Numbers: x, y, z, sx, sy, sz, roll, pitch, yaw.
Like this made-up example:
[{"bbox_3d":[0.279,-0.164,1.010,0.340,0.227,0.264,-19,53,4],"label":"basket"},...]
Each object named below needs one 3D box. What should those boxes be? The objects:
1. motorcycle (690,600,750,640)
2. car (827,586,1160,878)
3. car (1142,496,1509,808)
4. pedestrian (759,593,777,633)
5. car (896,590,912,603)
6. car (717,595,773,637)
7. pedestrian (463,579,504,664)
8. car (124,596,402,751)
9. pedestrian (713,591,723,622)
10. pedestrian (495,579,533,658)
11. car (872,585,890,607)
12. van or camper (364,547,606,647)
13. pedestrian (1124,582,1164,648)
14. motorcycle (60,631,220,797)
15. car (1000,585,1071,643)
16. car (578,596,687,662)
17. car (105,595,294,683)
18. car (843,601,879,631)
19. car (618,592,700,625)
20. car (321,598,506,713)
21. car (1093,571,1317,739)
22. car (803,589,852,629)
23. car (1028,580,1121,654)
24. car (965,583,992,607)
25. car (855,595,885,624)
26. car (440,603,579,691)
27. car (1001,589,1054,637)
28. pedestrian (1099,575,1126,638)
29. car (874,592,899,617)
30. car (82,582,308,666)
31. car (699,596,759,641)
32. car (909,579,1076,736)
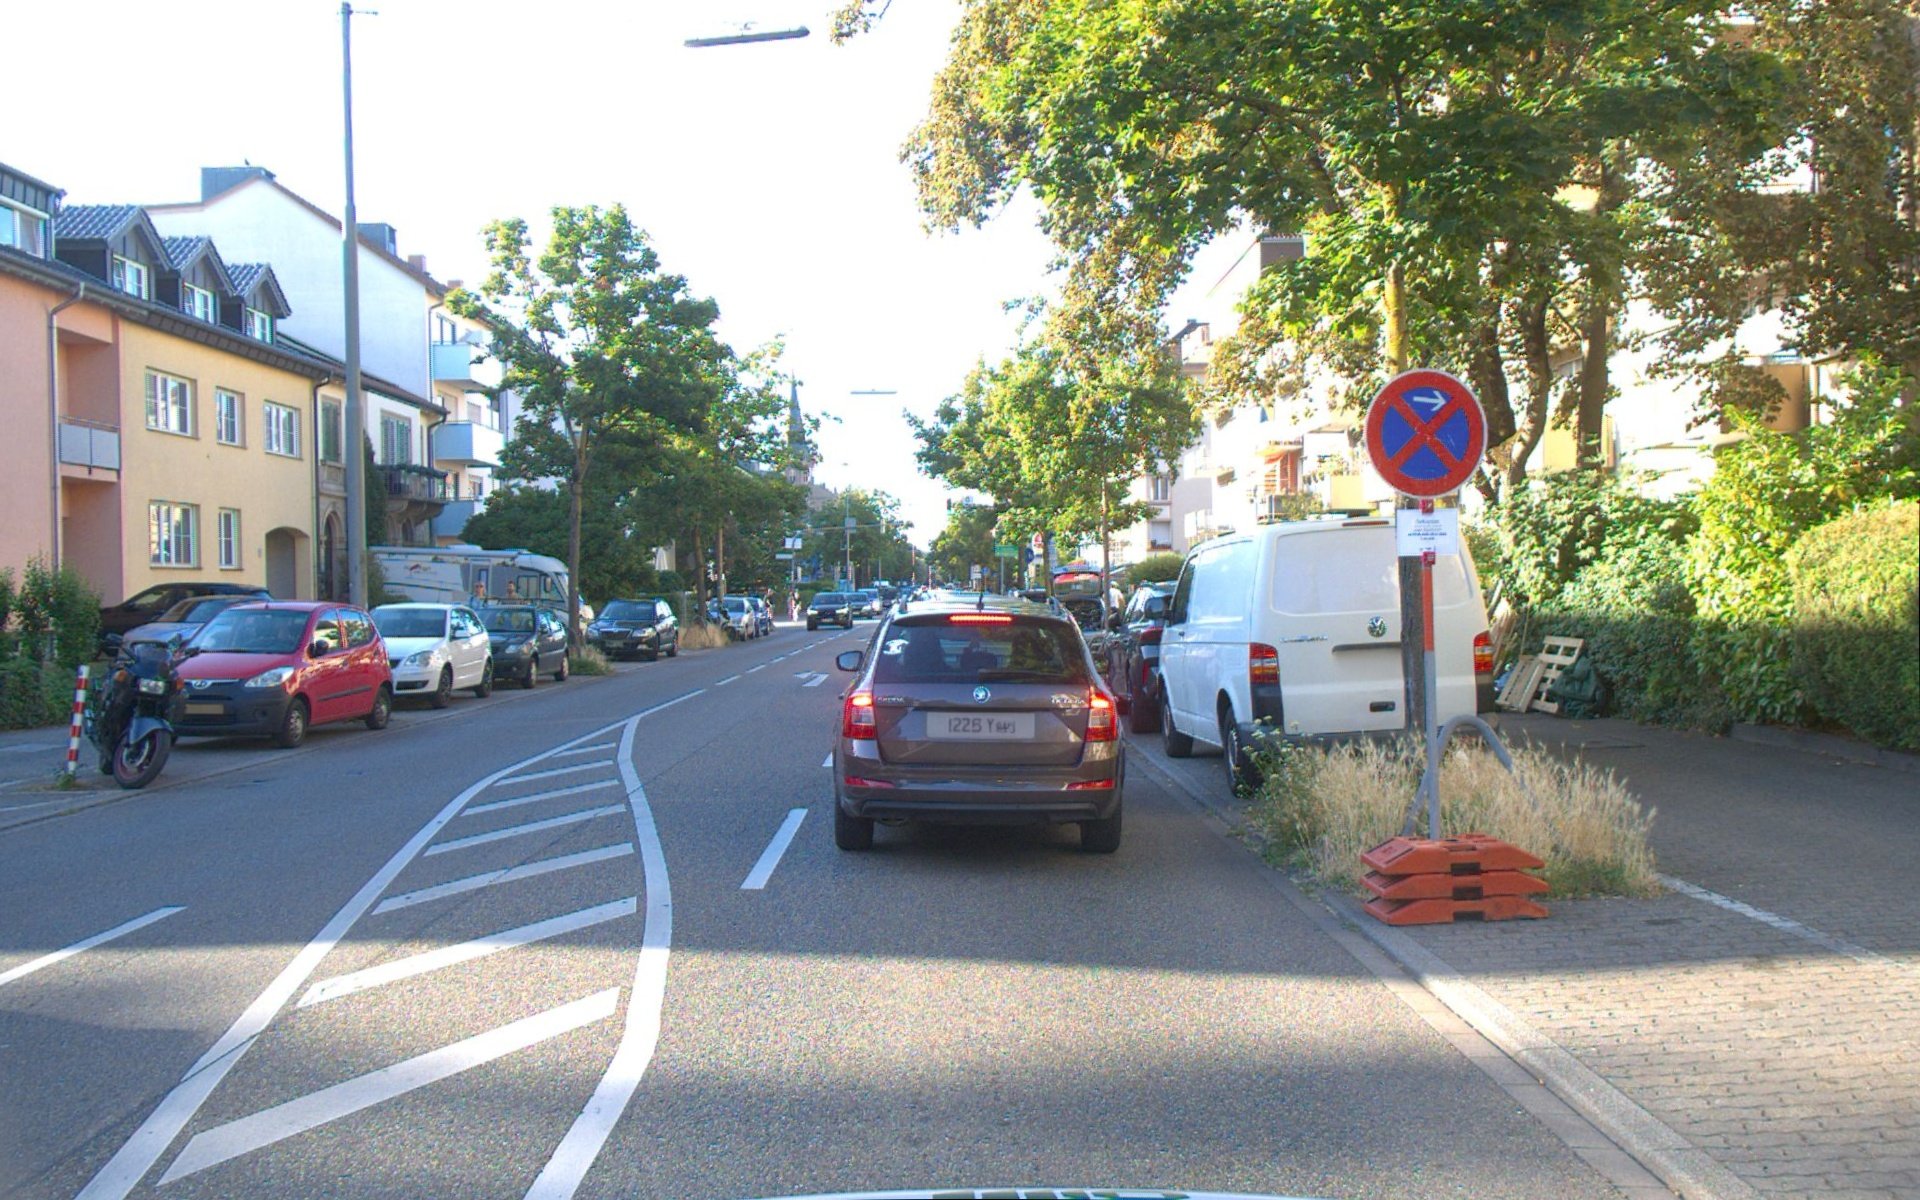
[{"bbox_3d":[-7.932,0.666,54.556,2.014,1.287,0.764,-1,0,38],"label":"motorcycle"},{"bbox_3d":[0.135,0.676,10.785,1.737,1.515,4.310,0,0,-1],"label":"car"},{"bbox_3d":[2.810,0.347,13.857,1.865,2.140,4.639,-1,0,-2],"label":"car"},{"bbox_3d":[-9.744,0.665,83.828,0.764,2.022,0.821,-1,0,0],"label":"pedestrian"},{"bbox_3d":[-6.812,-0.426,202.190,1.793,1.607,4.000,-1,0,-1],"label":"car"},{"bbox_3d":[-8.147,0.584,62.891,1.615,1.544,4.073,0,0,-1],"label":"car"},{"bbox_3d":[-10.271,0.459,35.667,0.699,1.824,0.506,-1,0,2],"label":"pedestrian"},{"bbox_3d":[-7.702,0.747,18.614,1.560,1.550,3.437,-1,0,2],"label":"car"},{"bbox_3d":[-14.538,0.408,99.396,0.440,1.828,0.504,-1,0,0],"label":"pedestrian"},{"bbox_3d":[-10.493,0.423,38.915,0.699,1.824,0.572,-1,0,2],"label":"pedestrian"},{"bbox_3d":[-9.425,-0.518,197.370,1.953,2.521,3.999,-1,0,-1],"label":"car"},{"bbox_3d":[-14.436,-0.082,50.551,6.660,2.821,2.351,1,0,-2],"label":"van or camper"},{"bbox_3d":[4.696,0.376,42.185,0.742,1.668,0.693,-1,0,36],"label":"pedestrian"},{"bbox_3d":[-7.277,0.957,14.810,1.164,1.288,2.352,-1,0,-24],"label":"motorcycle"},{"bbox_3d":[2.245,0.401,49.908,1.818,1.609,4.012,-3,0,-1],"label":"car"},{"bbox_3d":[-8.118,0.676,41.368,1.829,1.520,4.517,1,0,-1],"label":"car"},{"bbox_3d":[-13.765,0.666,30.168,1.630,1.433,3.753,-2,0,1],"label":"car"},{"bbox_3d":[-5.464,0.885,91.918,1.725,1.477,4.533,-3,0,-1],"label":"car"},{"bbox_3d":[-17.891,0.485,98.458,4.540,1.843,1.861,-1,0,-1],"label":"car"},{"bbox_3d":[-8.080,0.758,24.771,1.561,1.550,3.889,-1,0,-2],"label":"car"},{"bbox_3d":[2.711,0.555,19.292,1.818,1.631,4.310,-3,0,-1],"label":"car"},{"bbox_3d":[-5.710,0.382,71.573,1.798,1.597,3.999,-3,0,-1],"label":"car"},{"bbox_3d":[2.548,0.362,37.664,1.673,1.506,4.267,-3,0,-1],"label":"car"},{"bbox_3d":[1.431,-0.384,125.048,1.952,1.803,4.001,1,0,2],"label":"car"},{"bbox_3d":[-6.027,0.624,111.671,1.769,1.836,4.744,-3,0,-1],"label":"car"},{"bbox_3d":[-7.975,0.790,29.543,1.511,1.421,3.665,-1,0,-1],"label":"car"},{"bbox_3d":[2.244,0.395,55.657,1.668,1.475,4.014,-3,0,1],"label":"car"},{"bbox_3d":[4.406,0.176,47.844,0.649,1.779,0.772,-2,0,-1],"label":"pedestrian"},{"bbox_3d":[-6.309,0.367,142.888,1.953,1.942,4.963,-3,0,-1],"label":"car"},{"bbox_3d":[-16.259,0.498,35.302,3.905,1.664,1.866,1,0,0],"label":"car"},{"bbox_3d":[-8.098,0.632,58.262,1.561,1.496,3.803,1,0,-1],"label":"car"},{"bbox_3d":[0.342,0.582,19.121,1.701,1.598,4.000,1,0,0],"label":"car"}]
